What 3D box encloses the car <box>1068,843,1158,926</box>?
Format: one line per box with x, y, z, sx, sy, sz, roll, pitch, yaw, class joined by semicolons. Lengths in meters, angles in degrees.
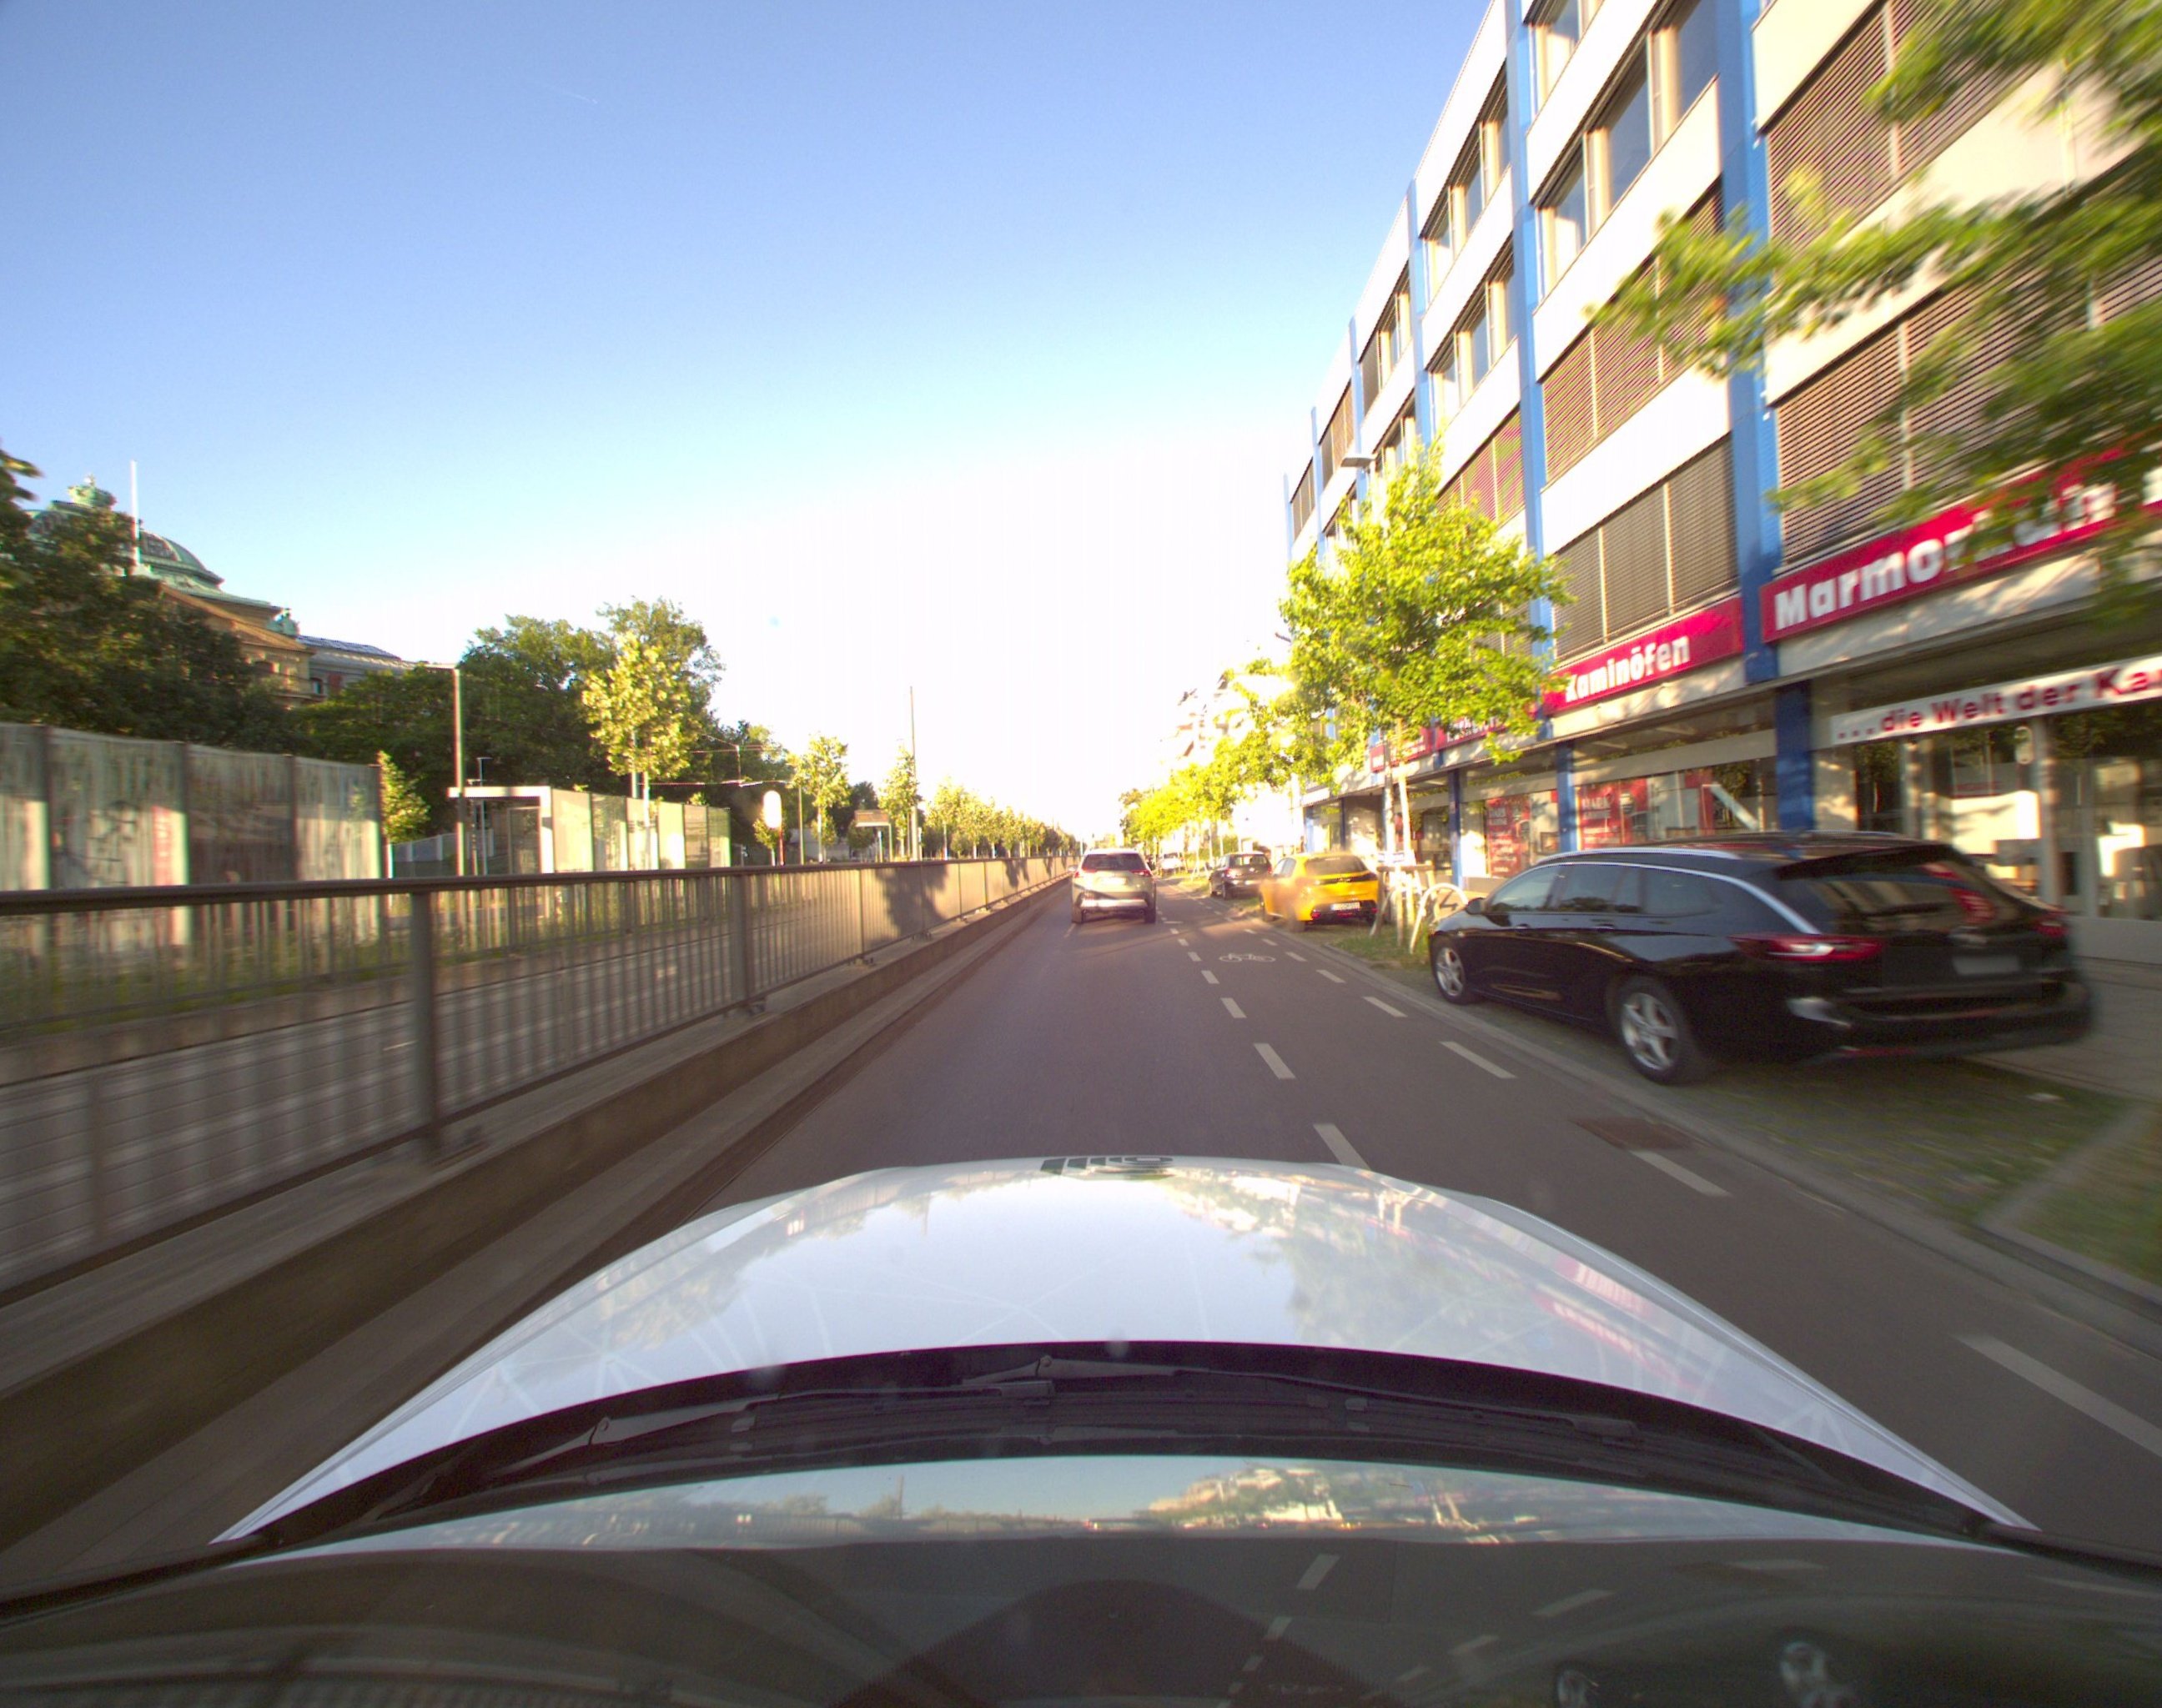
0.684;0.656;19.124;1.852;1.714;4.192;0;-1;0;car

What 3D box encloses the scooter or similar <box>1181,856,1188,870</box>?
9.756;0.844;77.014;0.489;1.258;1.207;-1;-1;-1;scooter or similar

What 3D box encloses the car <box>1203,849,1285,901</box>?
5.212;0.660;26.594;1.813;1.454;4.128;-3;-1;0;car

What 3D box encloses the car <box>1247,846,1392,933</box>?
4.649;0.645;16.516;1.678;1.454;4.129;-3;-1;0;car

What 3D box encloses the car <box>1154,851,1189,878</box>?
6.159;0.679;55.863;1.848;1.706;4.254;-2;0;0;car

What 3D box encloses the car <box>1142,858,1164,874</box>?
7.479;1.284;85.298;1.787;1.471;4.443;-5;0;-1;car

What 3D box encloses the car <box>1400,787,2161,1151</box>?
4.383;0.565;6.328;1.813;1.566;4.810;-6;0;0;car
